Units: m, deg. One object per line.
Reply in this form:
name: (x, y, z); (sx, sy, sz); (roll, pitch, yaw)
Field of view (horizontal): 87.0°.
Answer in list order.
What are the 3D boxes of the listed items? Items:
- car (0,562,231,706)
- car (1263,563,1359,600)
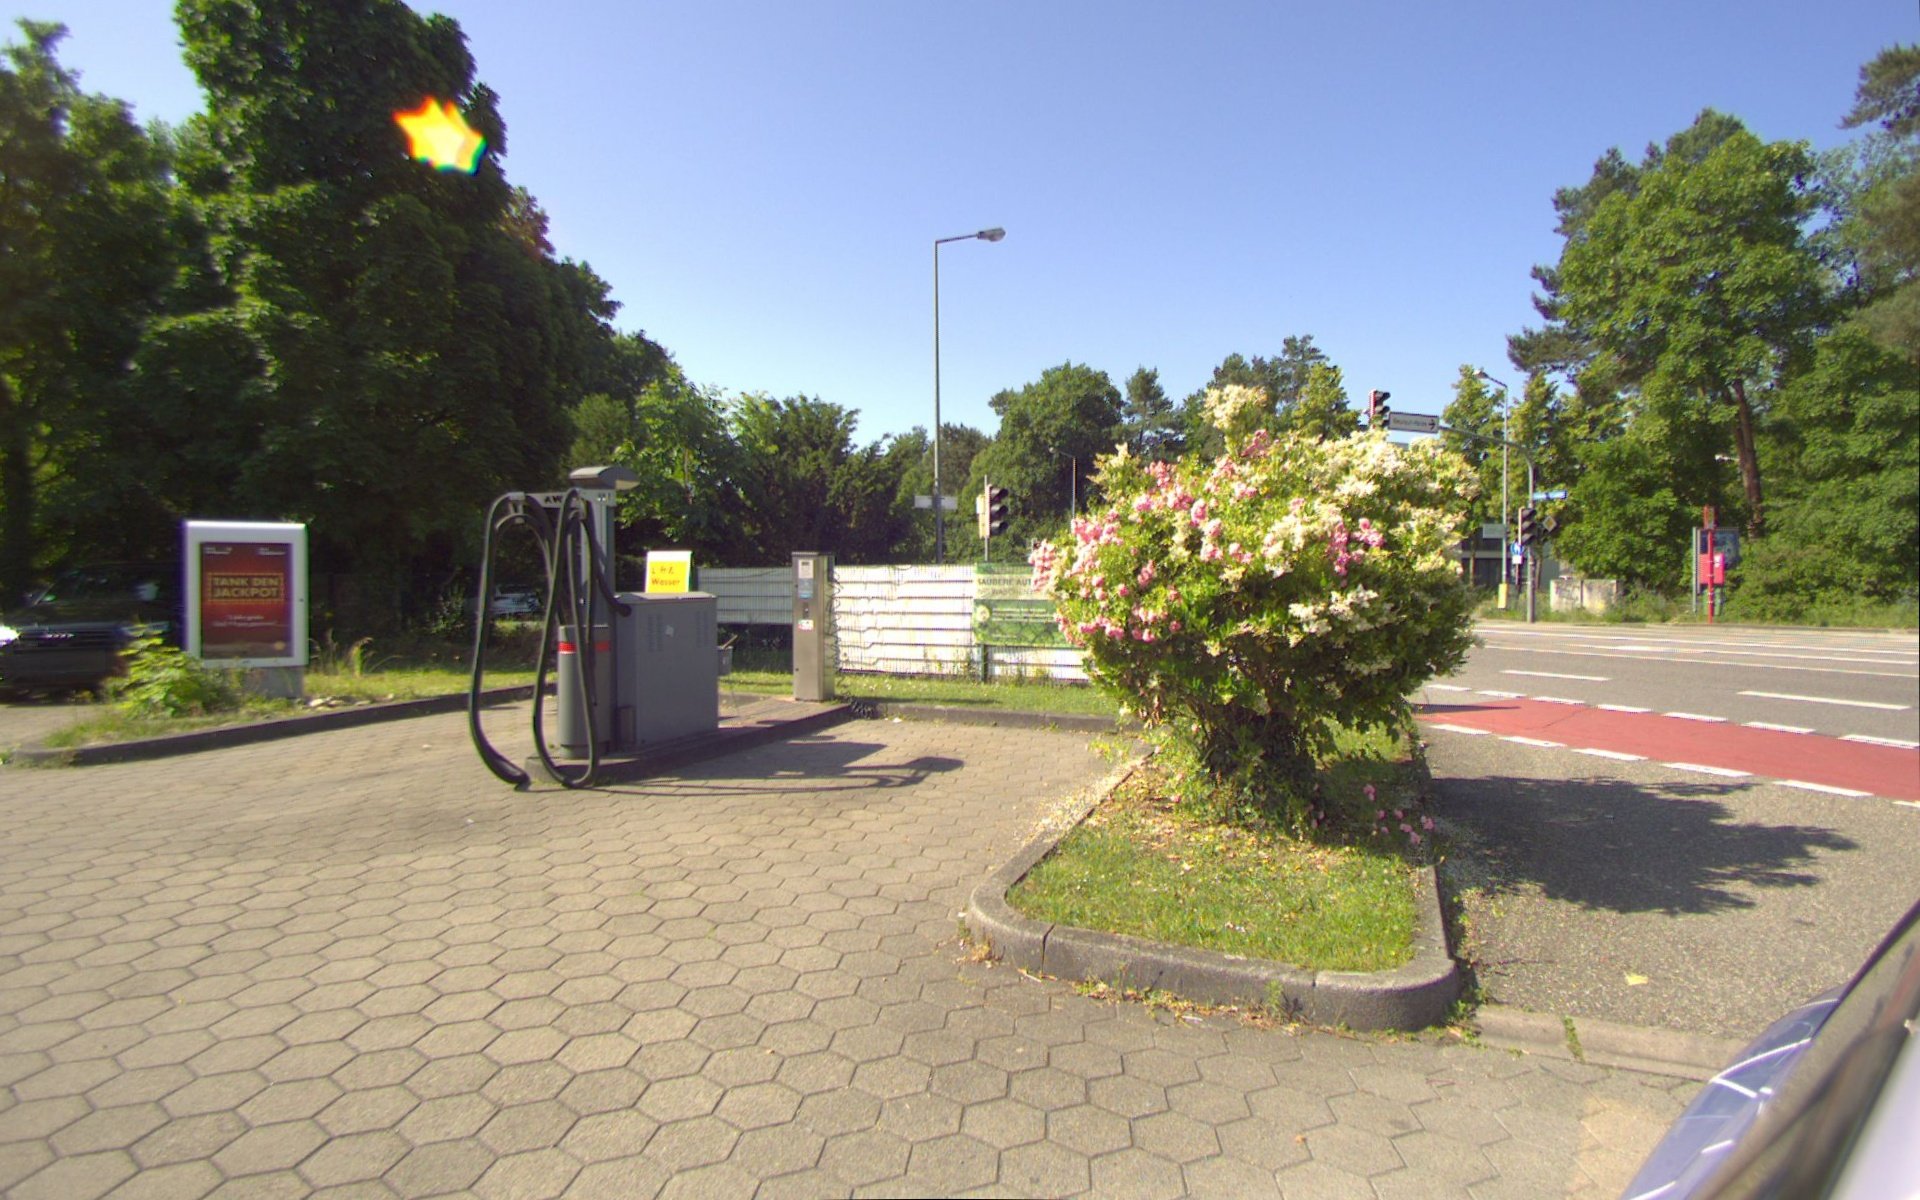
car: (-10.651, 0.321, 12.792); (1.649, 1.530, 3.946); (-1, 1, -26)
car: (17.945, -0.935, 51.761); (4.564, 1.800, 1.856); (0, 1, -24)
